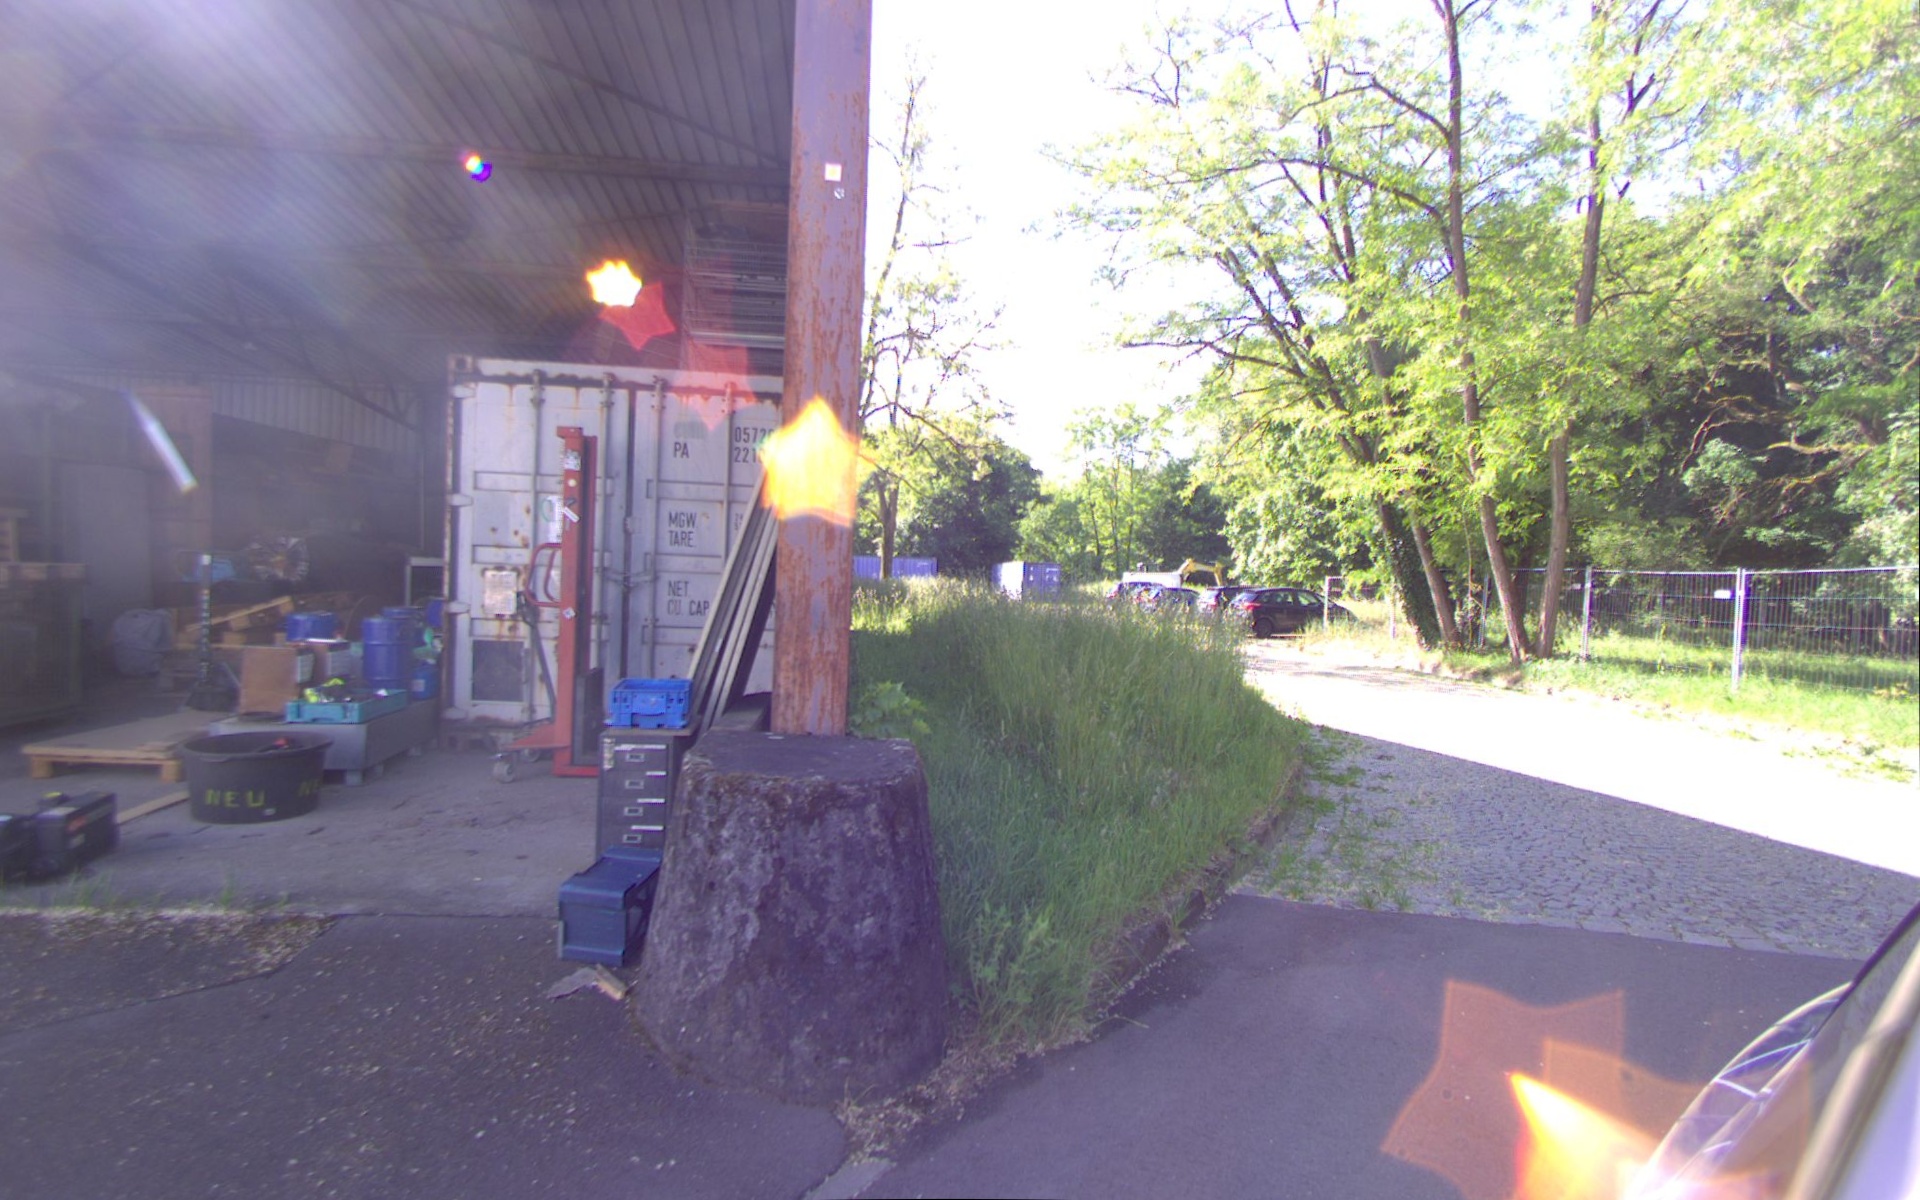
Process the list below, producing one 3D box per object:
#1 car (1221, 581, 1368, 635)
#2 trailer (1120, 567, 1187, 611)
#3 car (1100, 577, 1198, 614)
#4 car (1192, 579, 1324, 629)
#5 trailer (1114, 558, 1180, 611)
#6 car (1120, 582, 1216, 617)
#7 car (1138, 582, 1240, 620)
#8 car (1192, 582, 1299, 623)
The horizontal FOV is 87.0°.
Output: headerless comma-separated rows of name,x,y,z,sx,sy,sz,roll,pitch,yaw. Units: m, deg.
car,10.996,0.223,33.369,4.185,1.609,1.833,-2,1,-10
trailer,9.517,-0.581,49.936,2.794,2.076,1.826,1,2,-4
car,8.752,-0.211,47.005,4.048,1.609,1.973,1,2,-5
car,10.780,0.112,36.751,4.185,1.651,1.884,-1,2,-10
trailer,9.599,-0.816,52.142,2.794,2.570,2.268,-2,2,-4
car,9.115,-0.037,44.518,3.714,1.429,1.898,1,2,-5
car,9.437,0.022,41.894,3.714,1.476,1.788,1,2,-4
car,11.090,0.067,39.478,3.654,1.469,1.745,1,2,0
